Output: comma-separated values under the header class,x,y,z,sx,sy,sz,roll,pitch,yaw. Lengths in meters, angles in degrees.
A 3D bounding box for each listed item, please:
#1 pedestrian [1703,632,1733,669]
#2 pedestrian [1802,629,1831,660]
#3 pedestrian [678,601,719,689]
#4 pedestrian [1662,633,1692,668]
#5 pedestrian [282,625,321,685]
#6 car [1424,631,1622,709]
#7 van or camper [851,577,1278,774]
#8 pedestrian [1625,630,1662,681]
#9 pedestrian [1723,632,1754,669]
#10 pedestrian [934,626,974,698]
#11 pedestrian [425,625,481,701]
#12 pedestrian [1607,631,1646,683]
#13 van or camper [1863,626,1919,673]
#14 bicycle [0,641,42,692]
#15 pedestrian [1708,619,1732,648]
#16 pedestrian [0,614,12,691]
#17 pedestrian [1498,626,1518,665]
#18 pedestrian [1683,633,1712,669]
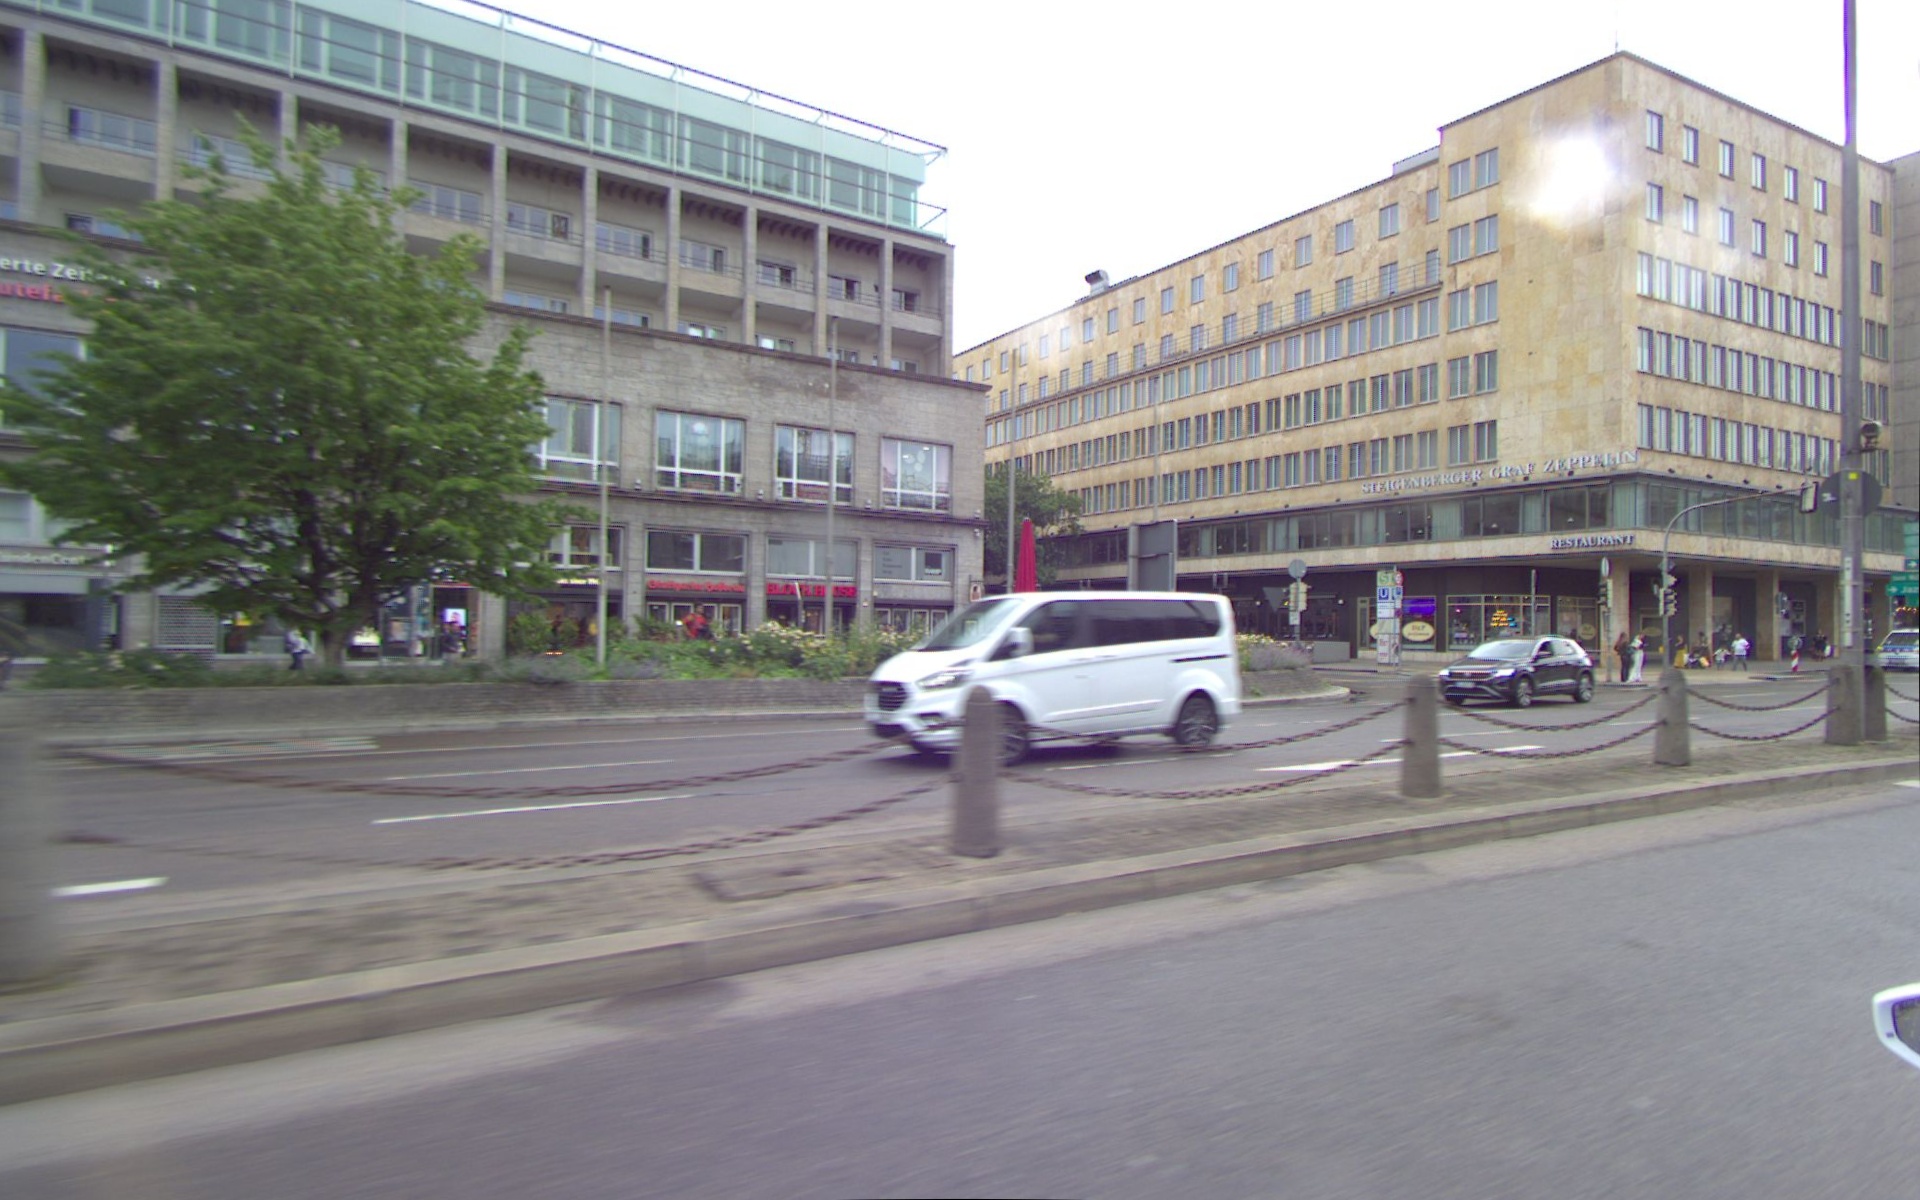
class,x,y,z,sx,sy,sz,roll,pitch,yaw
pedestrian,32.822,2.164,43.518,0.894,1.578,0.718,1,-2,-28
pedestrian,42.885,2.231,50.297,0.905,1.546,0.792,1,-2,-28
pedestrian,-6.222,1.064,23.919,0.784,2.040,0.664,1,-2,-29
pedestrian,32.162,2.263,45.035,0.993,1.578,0.718,1,-2,-28
pedestrian,-17.932,1.492,27.340,0.717,1.617,0.665,-1,-2,38
car,13.076,1.567,23.289,4.521,1.638,1.985,2,-2,-30
van or camper,1.400,0.873,12.569,5.127,2.040,1.985,2,-2,-29
pedestrian,22.833,1.845,33.547,0.686,1.694,0.758,1,-2,-16
pedestrian,33.190,2.140,42.821,0.884,1.578,0.718,1,-2,-28
pedestrian,-0.157,1.527,24.992,0.782,1.757,0.665,1,-2,-25
pedestrian,-13.759,1.703,27.280,1.061,2.040,0.771,0,-2,7
pedestrian,22.061,1.871,33.263,0.692,1.694,0.833,1,-2,-16
van or camper,42.993,2.216,45.315,4.907,2.040,1.984,2,-2,-30
bicycle,-22.729,1.585,24.157,0.497,1.176,1.898,1,-2,-28
pedestrian,41.453,1.816,54.771,0.707,1.546,0.792,1,-2,-28
pedestrian,-23.999,1.300,24.905,0.600,1.879,0.674,2,-2,-39
pedestrian,26.630,2.206,48.805,0.687,1.827,0.757,-1,-2,42
pedestrian,32.502,2.232,44.260,0.884,1.578,0.718,1,-2,-28
